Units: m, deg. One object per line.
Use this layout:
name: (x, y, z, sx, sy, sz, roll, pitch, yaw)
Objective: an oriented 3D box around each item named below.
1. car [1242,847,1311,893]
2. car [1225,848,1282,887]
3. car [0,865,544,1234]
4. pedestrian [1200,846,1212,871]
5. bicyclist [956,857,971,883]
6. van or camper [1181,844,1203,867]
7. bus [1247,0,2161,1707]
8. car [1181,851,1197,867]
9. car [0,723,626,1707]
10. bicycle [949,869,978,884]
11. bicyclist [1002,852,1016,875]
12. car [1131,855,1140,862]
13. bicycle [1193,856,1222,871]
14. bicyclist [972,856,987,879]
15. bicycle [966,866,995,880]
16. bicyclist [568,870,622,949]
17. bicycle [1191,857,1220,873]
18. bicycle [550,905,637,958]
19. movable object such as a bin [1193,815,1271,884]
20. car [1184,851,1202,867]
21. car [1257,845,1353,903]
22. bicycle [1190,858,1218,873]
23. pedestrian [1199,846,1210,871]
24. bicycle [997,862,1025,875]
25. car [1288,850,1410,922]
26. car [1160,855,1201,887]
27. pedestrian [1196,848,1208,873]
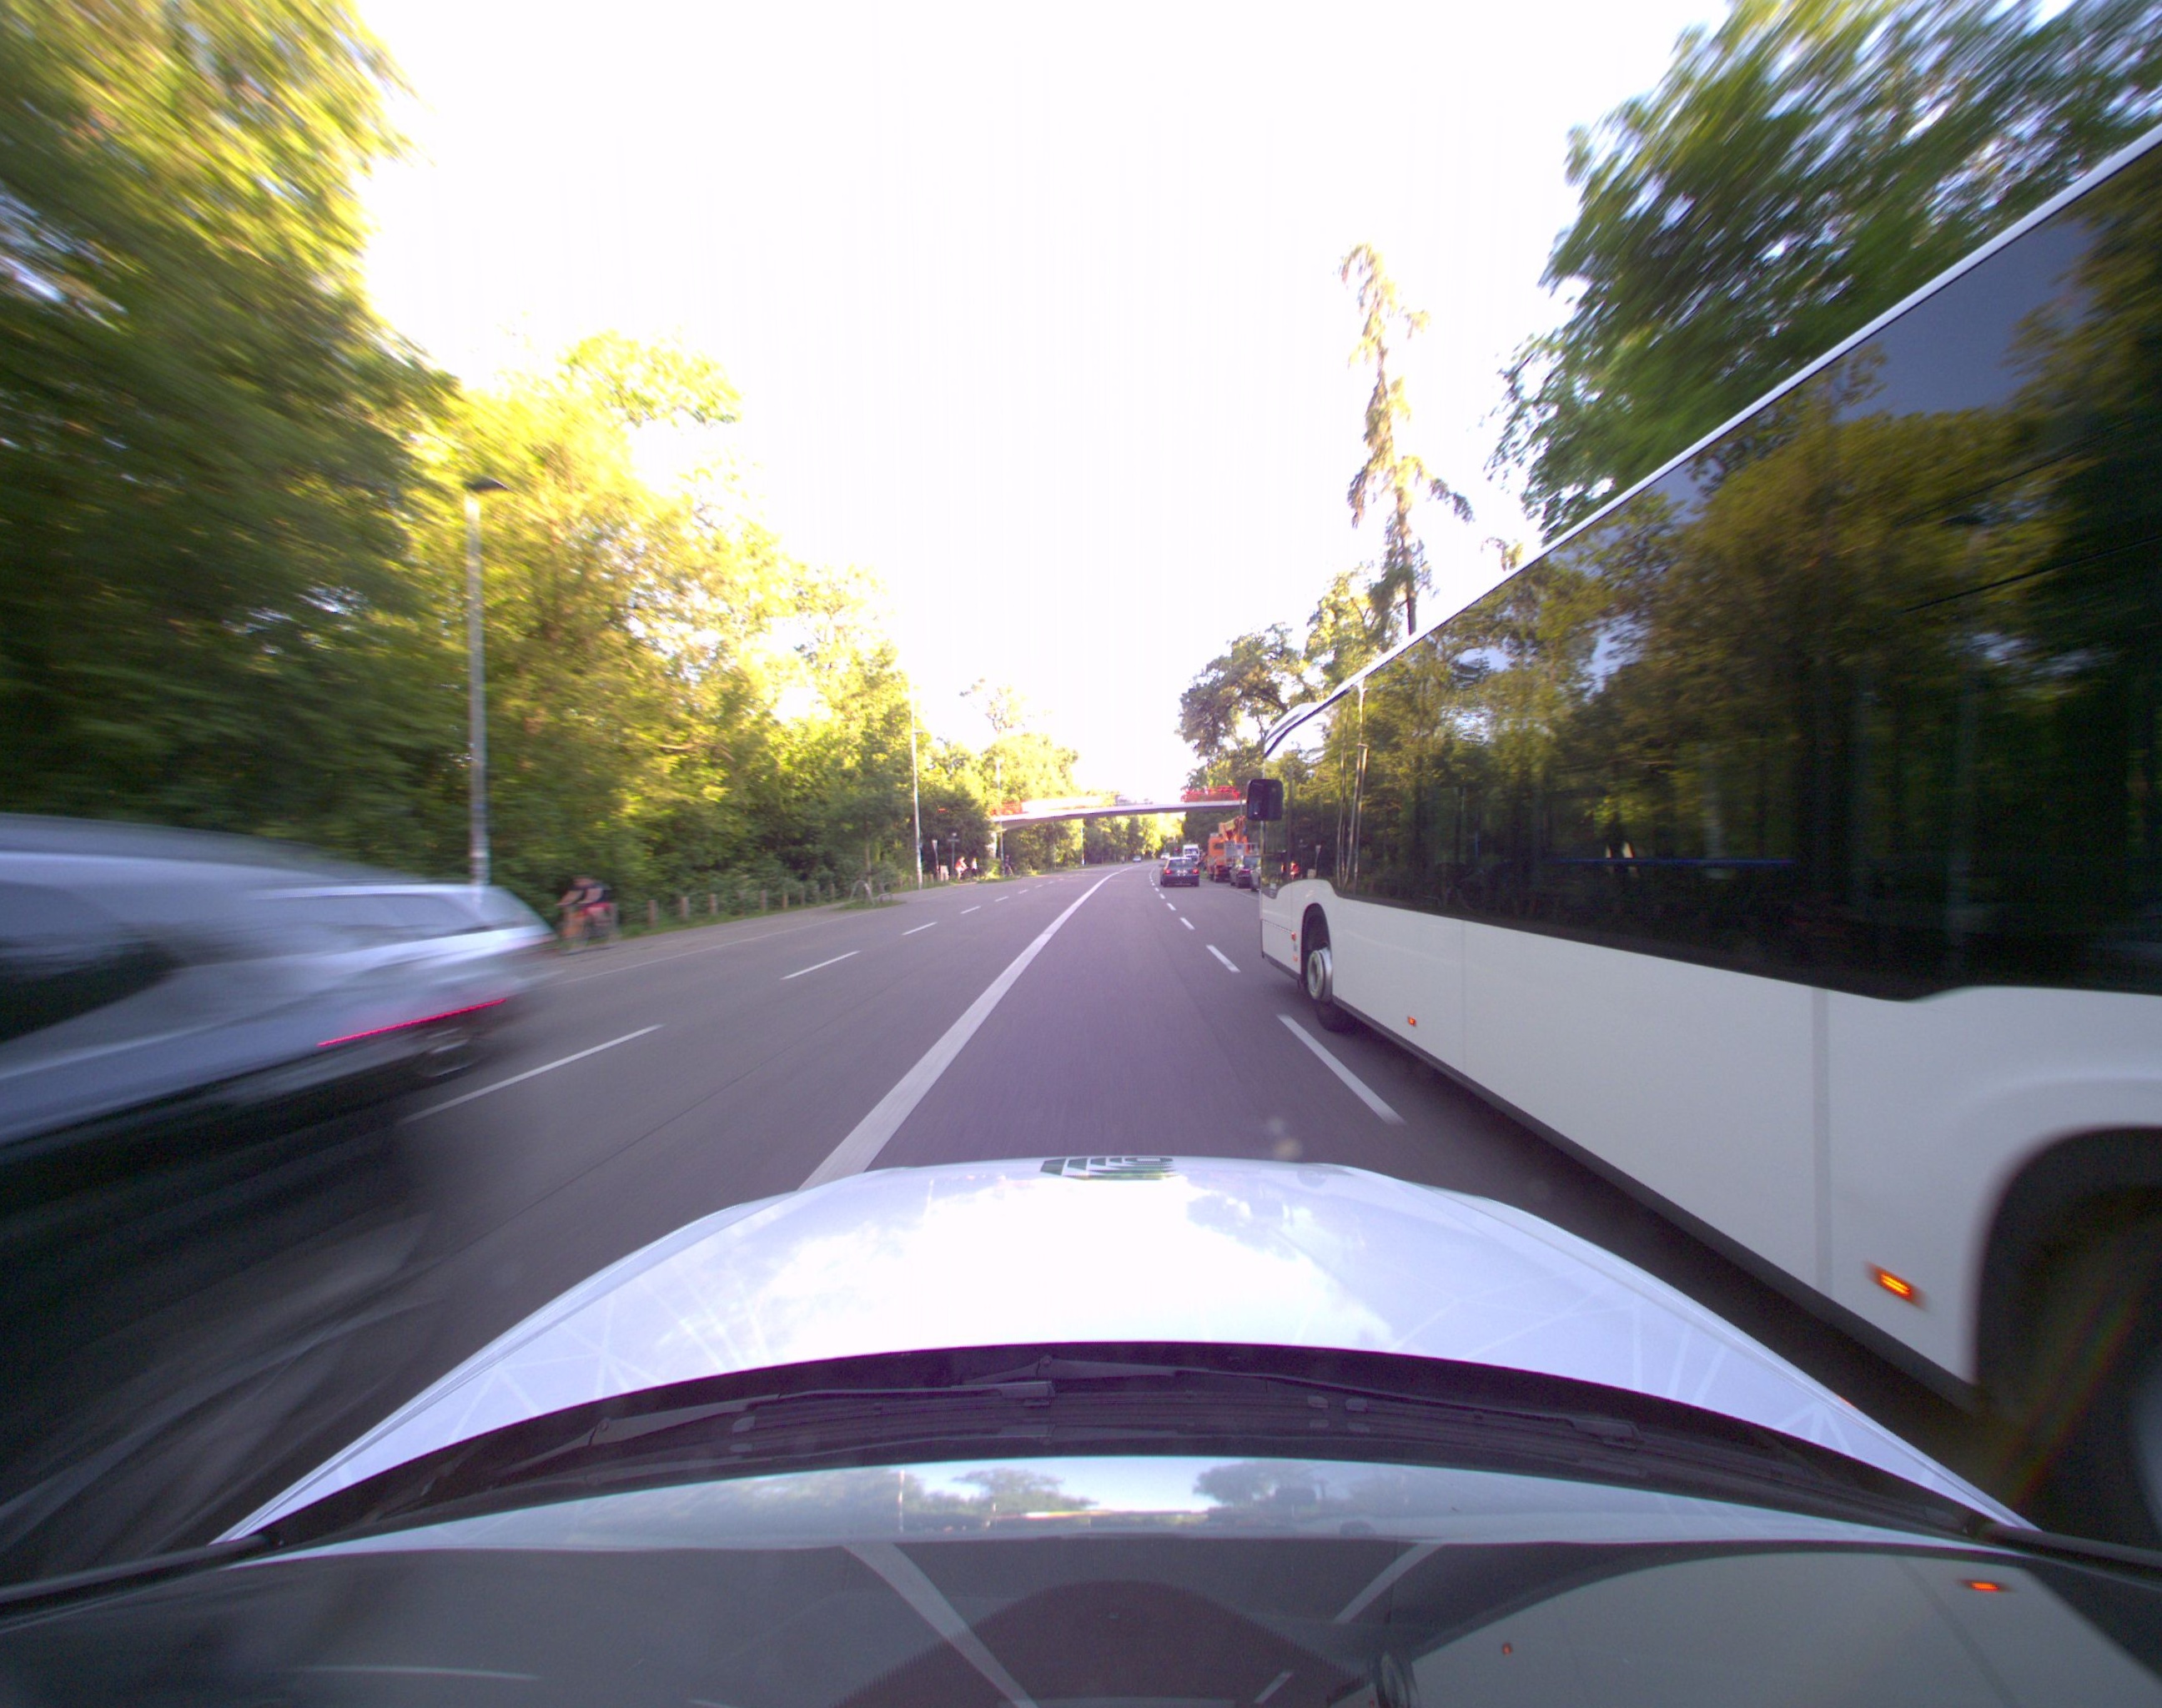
car: (7.341, 0.569, 30.947, 1.721, 1.574, 4.091, -2, 0, 1)
car: (7.578, 0.569, 36.202, 1.721, 1.574, 4.091, -2, 0, 1)
car: (-5.522, 0.881, 4.539, 1.891, 1.531, 4.531, -2, 0, 2)
pedestrian: (9.494, 0.341, 61.848, 0.696, 1.852, 0.939, -2, 0, 0)
bicyclist: (-8.687, 1.172, 60.114, 0.790, 1.901, 0.820, -2, 0, 13)
van or camper: (12.811, 0.174, 94.238, 2.108, 2.517, 5.989, -2, 0, 5)
bus: (3.171, -0.112, 3.937, 2.693, 3.222, 12.286, -1, 0, 2)
car: (13.385, 0.639, 101.546, 1.820, 1.868, 5.083, -2, 0, 7)
car: (-2.841, 0.655, 0.959, 1.910, 1.704, 4.445, -2, 0, 2)
bicycle: (-8.663, 1.660, 60.103, 1.913, 0.934, 0.827, -3, -1, 13)
bicyclist: (-5.334, 0.716, 60.392, 0.790, 1.643, 0.844, -2, 0, 13)
car: (12.531, 1.080, 187.228, 1.673, 1.407, 3.896, -3, -1, 6)
bicycle: (9.617, 0.730, 61.830, 2.054, 1.068, 0.870, -2, 0, 0)
bicyclist: (-7.595, 0.991, 61.175, 0.790, 1.697, 0.949, -2, 0, 13)
bicycle: (-7.549, 1.416, 61.183, 1.913, 0.934, 0.827, -2, 0, 13)
bicyclist: (-9.577, 1.074, 16.075, 0.497, 1.484, 0.761, -4, 0, 2)
bicycle: (9.626, 0.844, 62.787, 2.055, 1.068, 0.870, -3, -1, 0)
bicycle: (-9.533, 1.496, 16.001, 0.493, 0.813, 1.809, -5, 0, 2)
movable object such as a bin: (8.068, -0.211, 44.450, 2.750, 3.370, 7.599, -2, 0, 0)
car: (11.388, 0.490, 82.918, 1.713, 1.496, 3.784, -2, 0, 8)
car: (6.820, 0.574, 25.257, 1.831, 1.574, 4.460, -2, 0, 1)
bicycle: (9.630, 0.906, 63.933, 2.055, 1.068, 0.870, -3, -1, 0)
pedestrian: (9.530, 0.341, 62.830, 0.696, 1.852, 0.939, -2, 0, 0)
bicycle: (-5.197, 1.084, 60.356, 1.913, 0.934, 0.827, -2, 0, 13)
car: (6.455, 0.713, 20.059, 1.721, 1.542, 4.091, -2, 0, 1)
car: (4.765, 0.780, 39.461, 1.720, 1.441, 4.093, -2, 0, 3)
pedestrian: (9.509, 0.518, 63.945, 0.697, 1.852, 0.939, -5, -1, 0)
